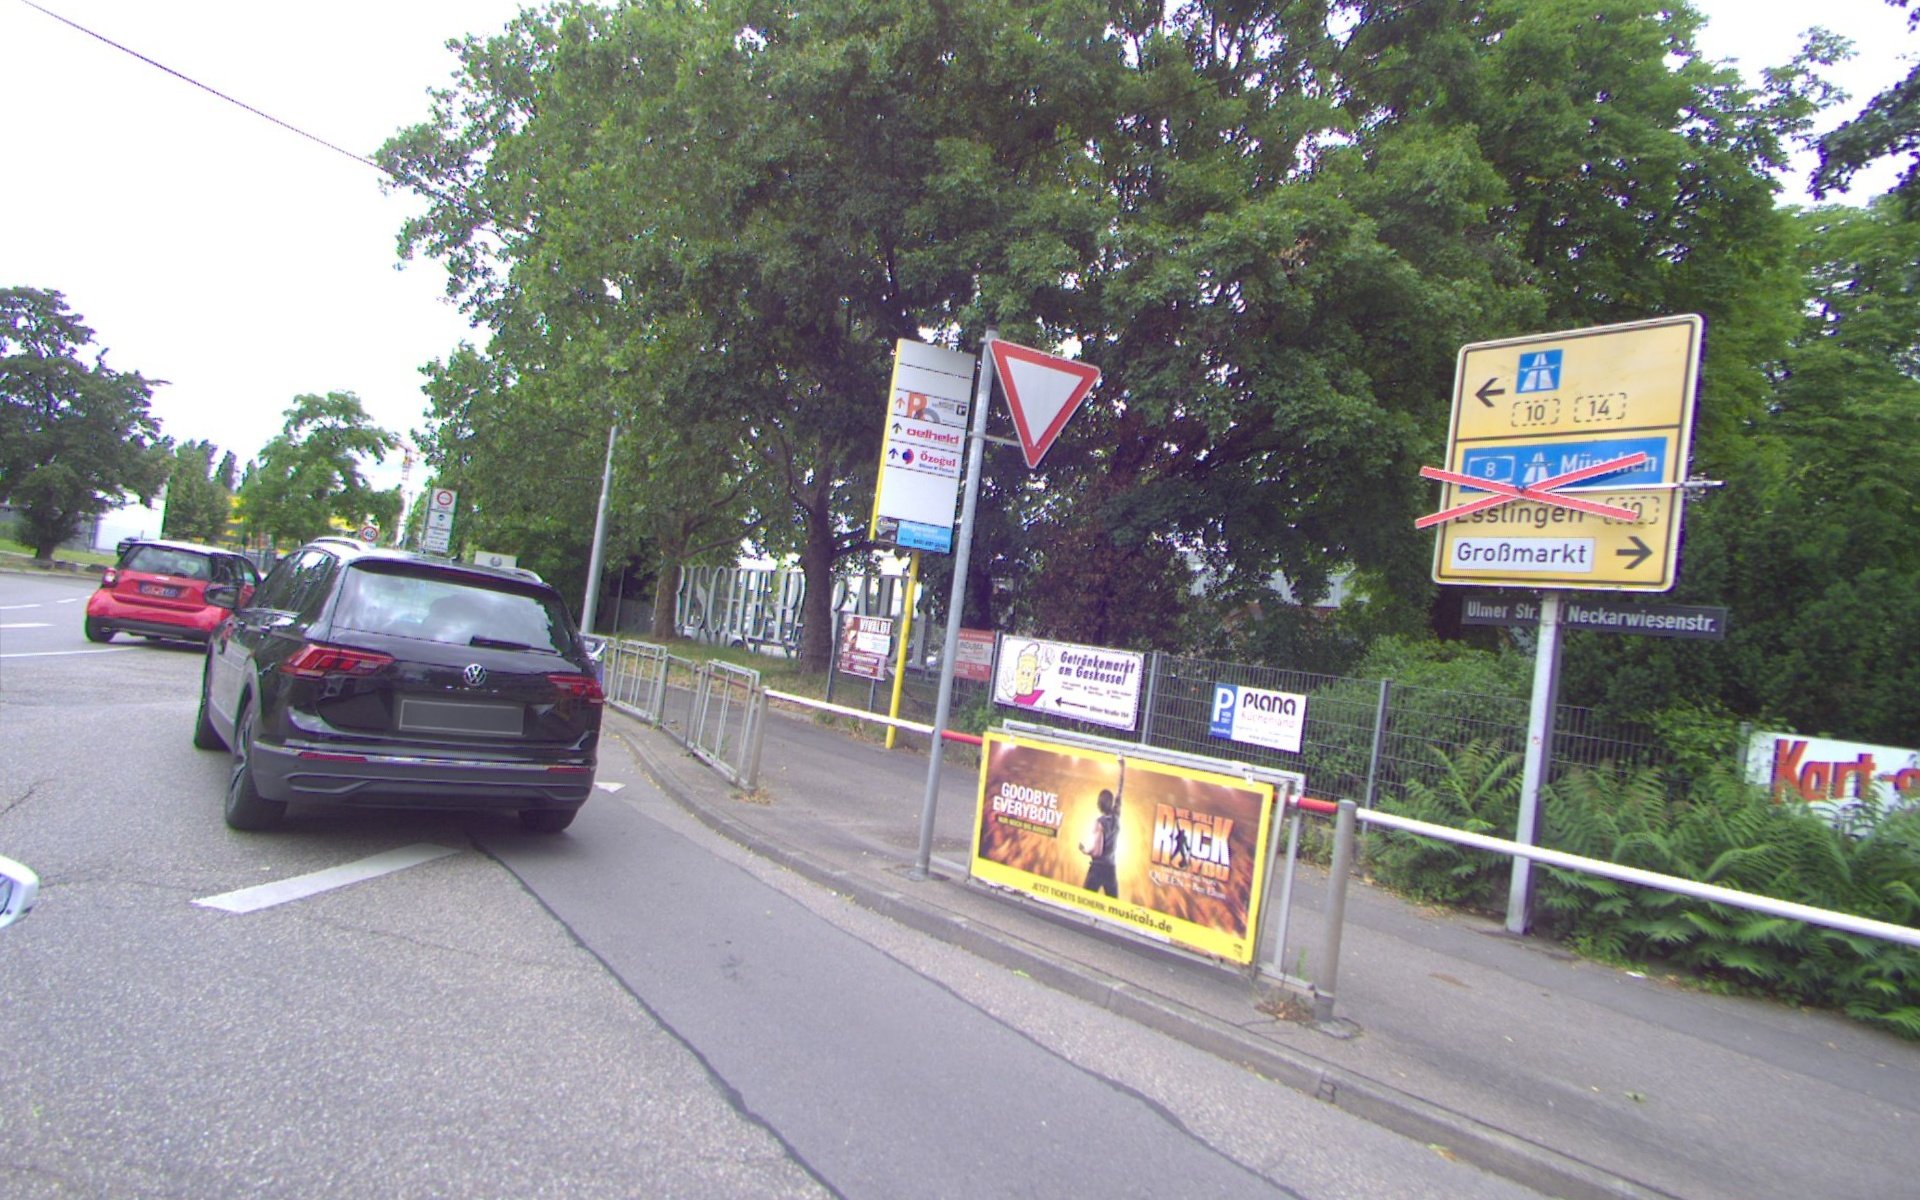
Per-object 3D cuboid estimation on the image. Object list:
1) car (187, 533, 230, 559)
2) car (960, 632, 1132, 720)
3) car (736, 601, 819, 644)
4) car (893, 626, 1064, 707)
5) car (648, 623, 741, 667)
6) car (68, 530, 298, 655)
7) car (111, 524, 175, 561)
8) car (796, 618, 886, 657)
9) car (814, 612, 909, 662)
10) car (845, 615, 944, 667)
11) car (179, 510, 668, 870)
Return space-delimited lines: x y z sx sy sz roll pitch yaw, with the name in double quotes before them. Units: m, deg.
"car" -72.176 -5.153 96.649 1.944 2.035 4.202 9 -3 -20
"car" 2.247 1.970 25.614 4.286 1.630 1.576 11 -4 -37
"car" -11.826 1.463 65.291 4.786 2.036 1.981 10 -3 -36
"car" 0.570 1.911 28.551 4.489 1.630 1.867 11 -3 -35
"car" -12.066 2.061 45.853 3.705 1.521 1.465 10 -3 -40
"car" -11.594 -0.093 15.267 1.693 1.481 3.009 9 -2 -18
"car" -56.657 -3.939 69.820 1.944 2.035 4.202 9 -3 -20
"car" -6.793 2.162 57.598 4.604 1.576 1.981 10 -3 -36
"car" -5.313 2.001 54.639 4.604 2.036 1.981 10 -3 -36
"car" -3.389 2.134 52.386 4.604 2.036 1.981 10 -3 -36
"car" -3.828 0.421 6.753 1.839 1.653 4.138 11 -4 -41
